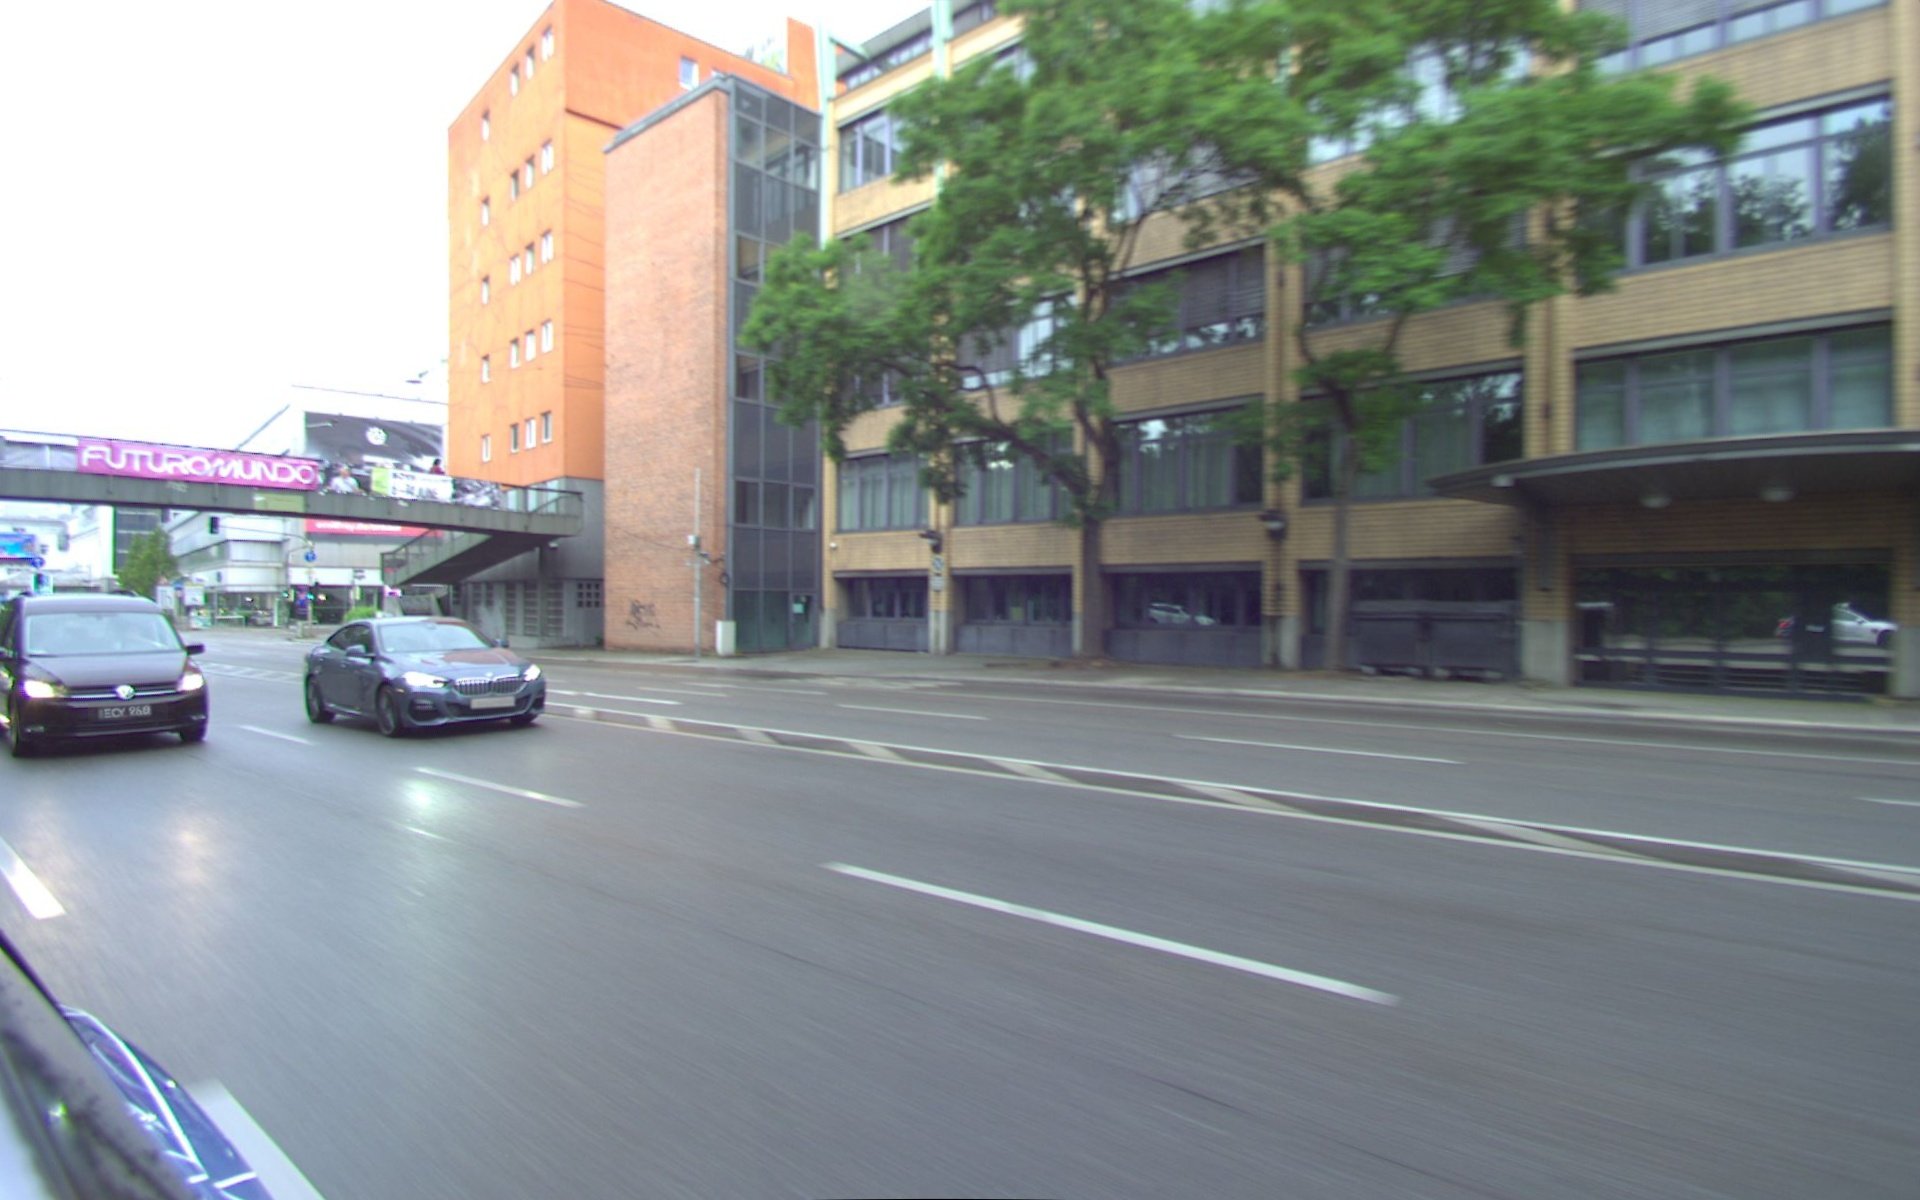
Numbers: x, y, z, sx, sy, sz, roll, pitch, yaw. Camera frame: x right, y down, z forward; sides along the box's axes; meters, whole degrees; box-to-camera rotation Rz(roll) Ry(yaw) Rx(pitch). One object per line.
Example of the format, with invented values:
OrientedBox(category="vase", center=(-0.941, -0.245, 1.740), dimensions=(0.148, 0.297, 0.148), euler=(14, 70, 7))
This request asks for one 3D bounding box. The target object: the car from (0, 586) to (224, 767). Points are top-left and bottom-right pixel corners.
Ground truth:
OrientedBox(category="car", center=(-10.602, 0.806, 12.258), dimensions=(3.997, 1.804, 1.819), euler=(-2, 0, 41))

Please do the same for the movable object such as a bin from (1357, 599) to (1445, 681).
OrientedBox(category="movable object such as a bin", center=(8.276, 0.728, 18.981), dimensions=(1.312, 1.447, 0.964), euler=(-1, 0, 37))

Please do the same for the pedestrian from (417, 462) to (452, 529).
OrientedBox(category="pedestrian", center=(-18.905, -3.737, 36.422), dimensions=(0.737, 2.272, 0.823), euler=(0, -1, 35))

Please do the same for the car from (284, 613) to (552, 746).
OrientedBox(category="car", center=(-7.328, 0.958, 13.473), dimensions=(4.538, 1.425, 1.648), euler=(-2, 1, 42))

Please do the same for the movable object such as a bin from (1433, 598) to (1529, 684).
OrientedBox(category="movable object such as a bin", center=(9.345, 0.712, 18.152), dimensions=(1.370, 1.447, 1.058), euler=(-1, 0, 37))
